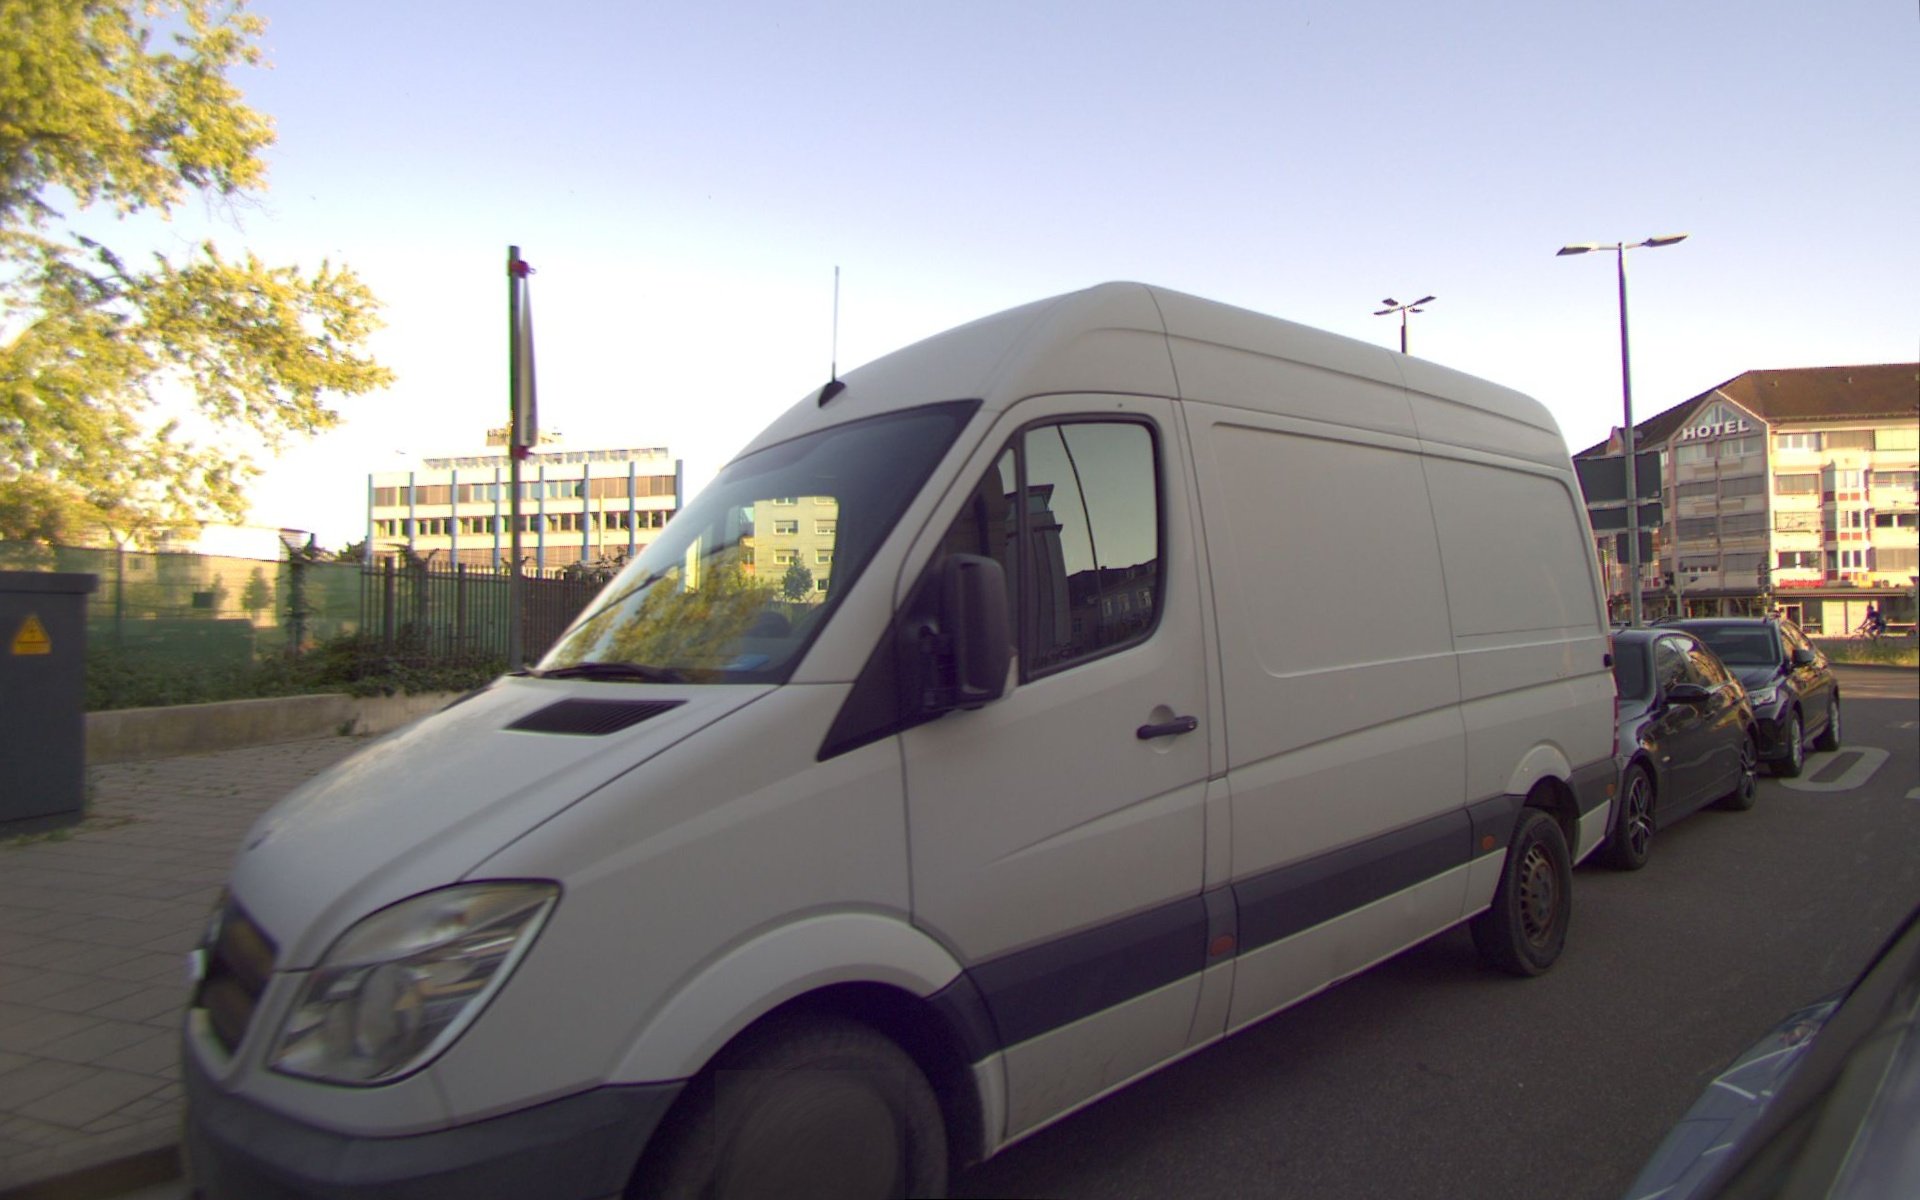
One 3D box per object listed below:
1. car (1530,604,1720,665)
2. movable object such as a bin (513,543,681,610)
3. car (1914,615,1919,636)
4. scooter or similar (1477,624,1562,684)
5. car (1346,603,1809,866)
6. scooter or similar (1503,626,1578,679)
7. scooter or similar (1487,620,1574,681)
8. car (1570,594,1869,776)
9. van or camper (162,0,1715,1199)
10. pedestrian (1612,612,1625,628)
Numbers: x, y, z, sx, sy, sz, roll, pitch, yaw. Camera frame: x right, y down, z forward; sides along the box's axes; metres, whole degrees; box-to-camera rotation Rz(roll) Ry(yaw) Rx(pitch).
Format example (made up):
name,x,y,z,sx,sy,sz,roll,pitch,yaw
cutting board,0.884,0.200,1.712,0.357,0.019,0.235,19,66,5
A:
name,x,y,z,sx,sy,sz,roll,pitch,yaw
car,19.151,0.967,29.409,1.903,1.638,4.400,0,-1,-15
movable object such as a bin,-12.027,-0.700,33.808,1.992,2.040,4.948,-2,-2,42
car,68.184,1.753,69.312,3.833,1.440,1.644,0,-2,10
scooter or similar,12.426,1.192,22.520,0.600,1.276,1.527,0,-3,-33
car,4.875,0.787,7.710,4.395,1.448,1.731,1,-2,-41
scooter or similar,13.268,1.186,23.159,0.452,1.181,1.404,1,-2,-33
scooter or similar,12.868,1.127,22.864,0.452,1.309,1.653,0,-2,-33
car,8.222,0.770,10.815,4.217,1.563,1.780,1,-2,-43
van or camper,0.810,0.062,4.111,6.334,2.810,2.081,0,-2,-39
pedestrian,64.802,1.950,99.558,0.696,1.569,0.903,-1,-2,11
